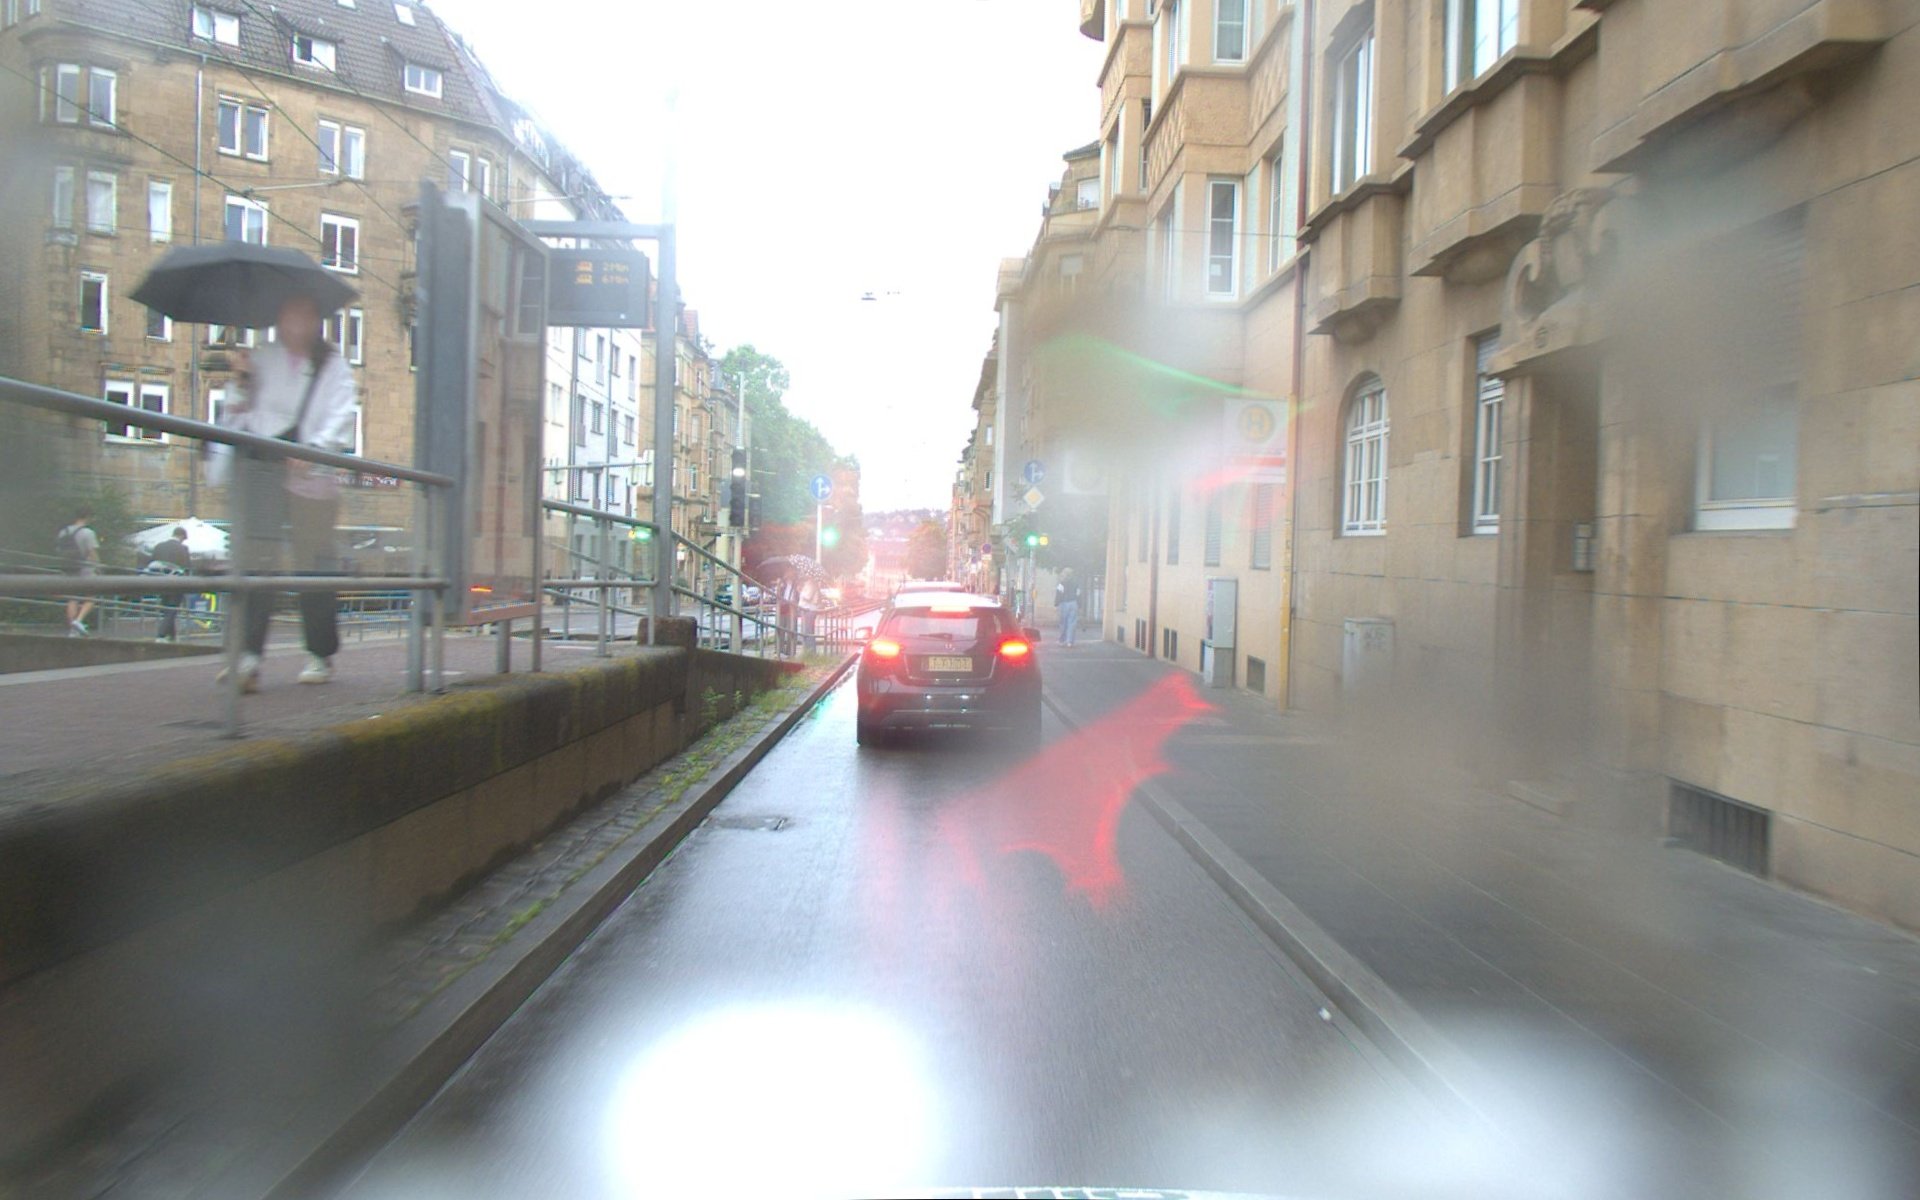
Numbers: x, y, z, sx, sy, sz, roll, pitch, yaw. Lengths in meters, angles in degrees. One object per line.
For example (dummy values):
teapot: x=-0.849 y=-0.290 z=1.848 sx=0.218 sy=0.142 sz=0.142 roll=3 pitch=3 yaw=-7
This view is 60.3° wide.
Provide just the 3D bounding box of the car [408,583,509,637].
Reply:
car: x=-14.947 y=0.258 z=49.531 sx=1.610 sy=1.523 sz=4.763 roll=1 pitch=1 yaw=-1

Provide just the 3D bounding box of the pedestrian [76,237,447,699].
pedestrian: x=-2.947 y=-0.527 z=7.126 sx=1.091 sy=1.805 sz=1.111 roll=1 pitch=0 yaw=-1

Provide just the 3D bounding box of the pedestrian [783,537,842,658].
pedestrian: x=-2.579 y=-0.047 z=29.019 sx=0.907 sy=2.049 sz=0.947 roll=1 pitch=0 yaw=-1

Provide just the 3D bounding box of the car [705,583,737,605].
car: x=-17.222 y=-0.431 z=119.275 sx=1.687 sy=1.568 sz=3.934 roll=0 pitch=0 yaw=1

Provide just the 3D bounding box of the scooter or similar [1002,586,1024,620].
scooter or similar: x=1.969 y=0.110 z=61.109 sx=0.625 sy=1.231 sz=1.551 roll=0 pitch=0 yaw=-5

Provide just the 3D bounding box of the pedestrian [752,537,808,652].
pedestrian: x=-3.287 y=-0.104 z=30.318 sx=0.879 sy=2.049 sz=0.947 roll=1 pitch=0 yaw=-1

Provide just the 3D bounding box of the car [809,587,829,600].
car: x=-15.874 y=-0.763 z=186.132 sx=1.908 sy=1.421 sz=4.273 roll=-1 pitch=0 yaw=-1

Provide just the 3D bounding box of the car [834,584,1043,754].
car: x=-0.170 y=0.594 z=16.700 sx=1.828 sy=1.477 sz=4.000 roll=1 pitch=1 yaw=1

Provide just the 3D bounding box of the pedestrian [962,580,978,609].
pedestrian: x=0.629 y=-0.345 z=102.056 sx=0.926 sy=1.800 sz=1.014 roll=0 pitch=0 yaw=-3

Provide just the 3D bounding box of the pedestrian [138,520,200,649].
pedestrian: x=-11.614 y=-0.233 z=24.302 sx=0.500 sy=1.850 sz=0.799 roll=1 pitch=0 yaw=-1

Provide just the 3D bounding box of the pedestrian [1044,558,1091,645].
pedestrian: x=2.391 y=0.024 z=36.800 sx=0.881 sy=1.872 sz=0.968 roll=-3 pitch=0 yaw=-2

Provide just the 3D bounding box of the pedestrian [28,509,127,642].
pedestrian: x=-11.040 y=-0.295 z=20.719 sx=0.678 sy=1.610 sz=0.956 roll=1 pitch=-1 yaw=-1

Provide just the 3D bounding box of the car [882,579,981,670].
car: x=-0.489 y=0.393 z=29.635 sx=1.616 sy=1.477 sz=4.000 roll=1 pitch=1 yaw=-1

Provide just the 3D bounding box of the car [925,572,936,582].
car: x=-4.146 y=-3.182 z=233.266 sx=1.581 sy=1.340 sz=3.999 roll=2 pitch=0 yaw=-1
